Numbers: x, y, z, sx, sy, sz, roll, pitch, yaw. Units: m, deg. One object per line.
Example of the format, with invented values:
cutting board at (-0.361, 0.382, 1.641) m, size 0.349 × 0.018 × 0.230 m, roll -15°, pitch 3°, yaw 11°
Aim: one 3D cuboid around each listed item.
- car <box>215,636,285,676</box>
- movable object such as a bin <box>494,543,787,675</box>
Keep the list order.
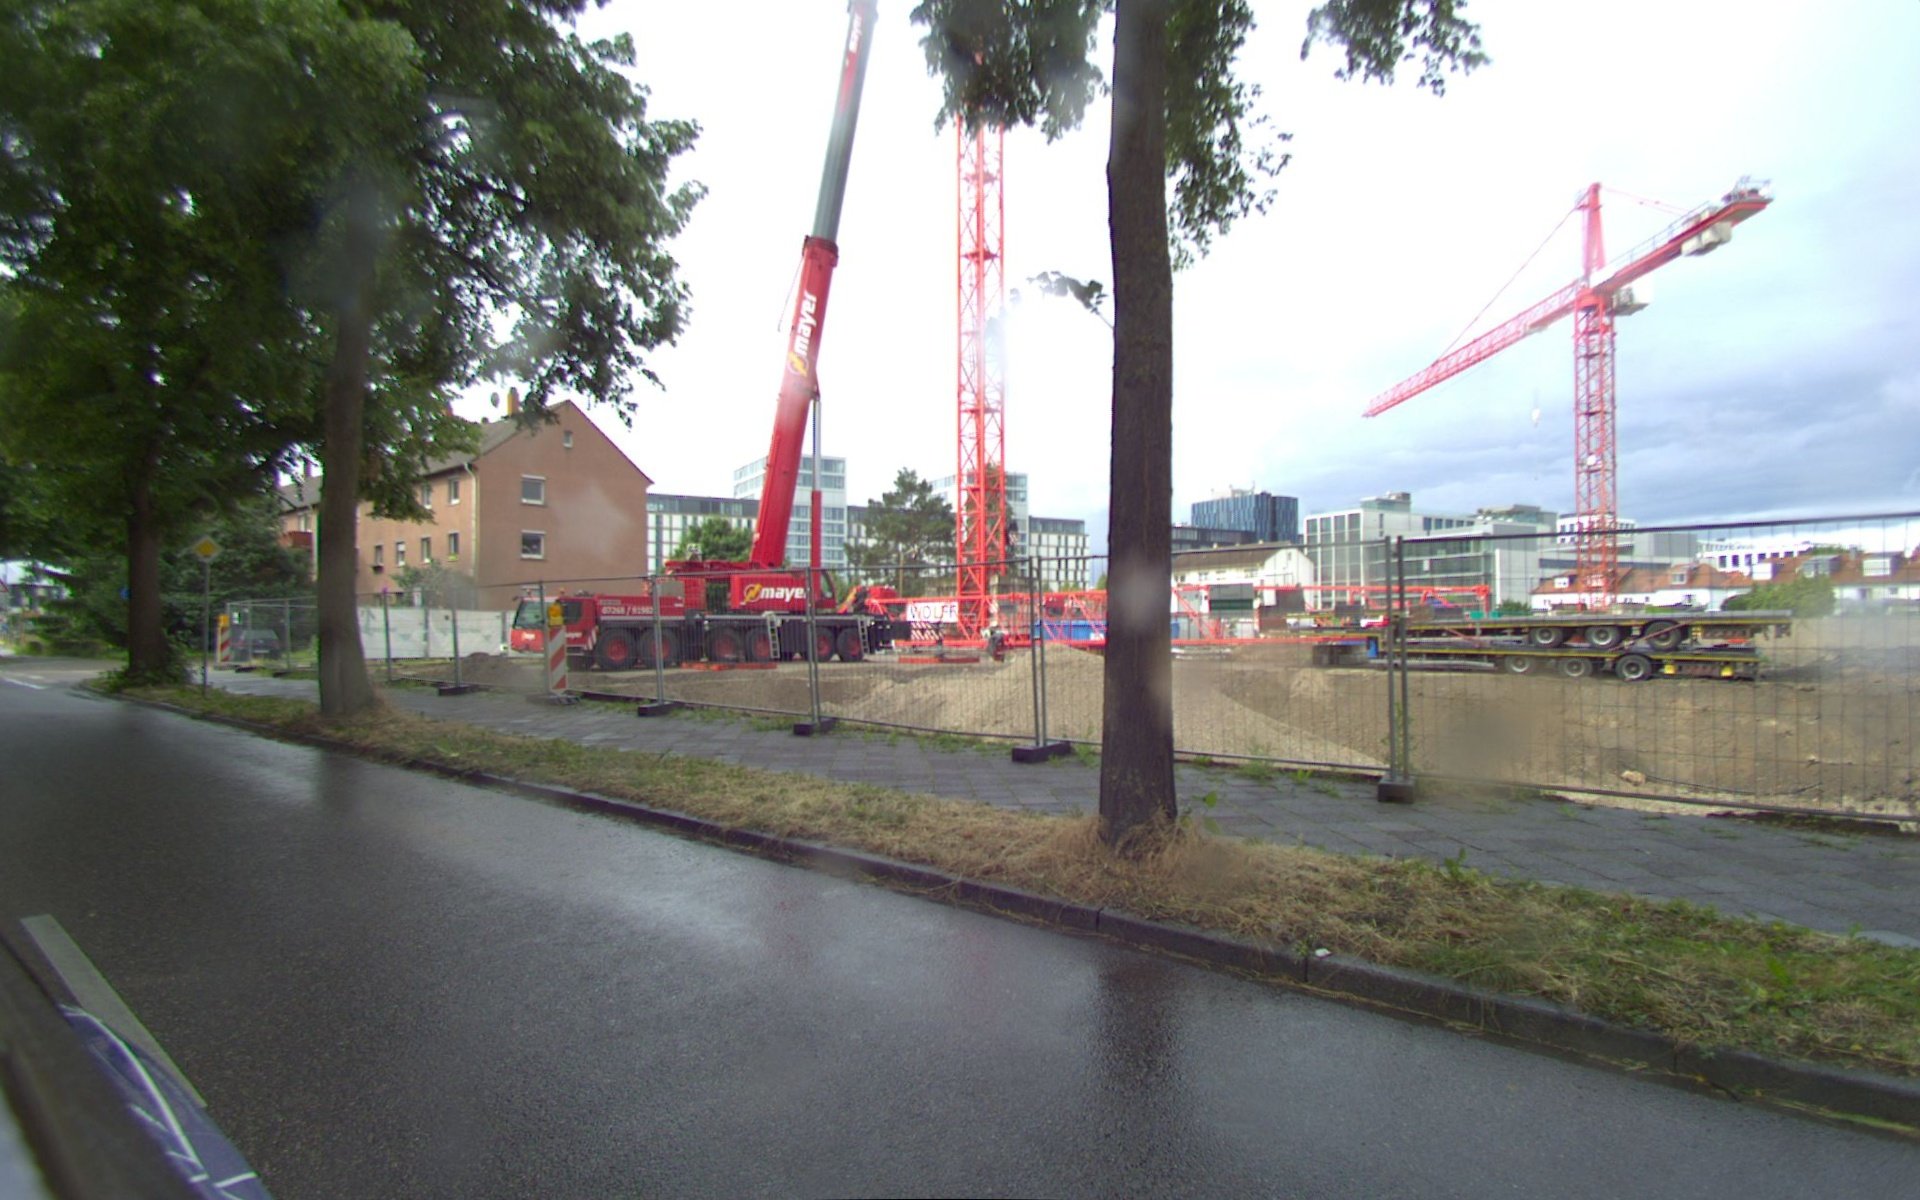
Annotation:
car at (-30.134, 2.339, 42.936) m, size 3.869 × 1.431 × 1.607 m, roll 0°, pitch 0°, yaw 42°
movable object such as a bin at (-11.183, 0.380, 36.538) m, size 3.366 × 4.147 × 9.704 m, roll -3°, pitch -3°, yaw 43°
